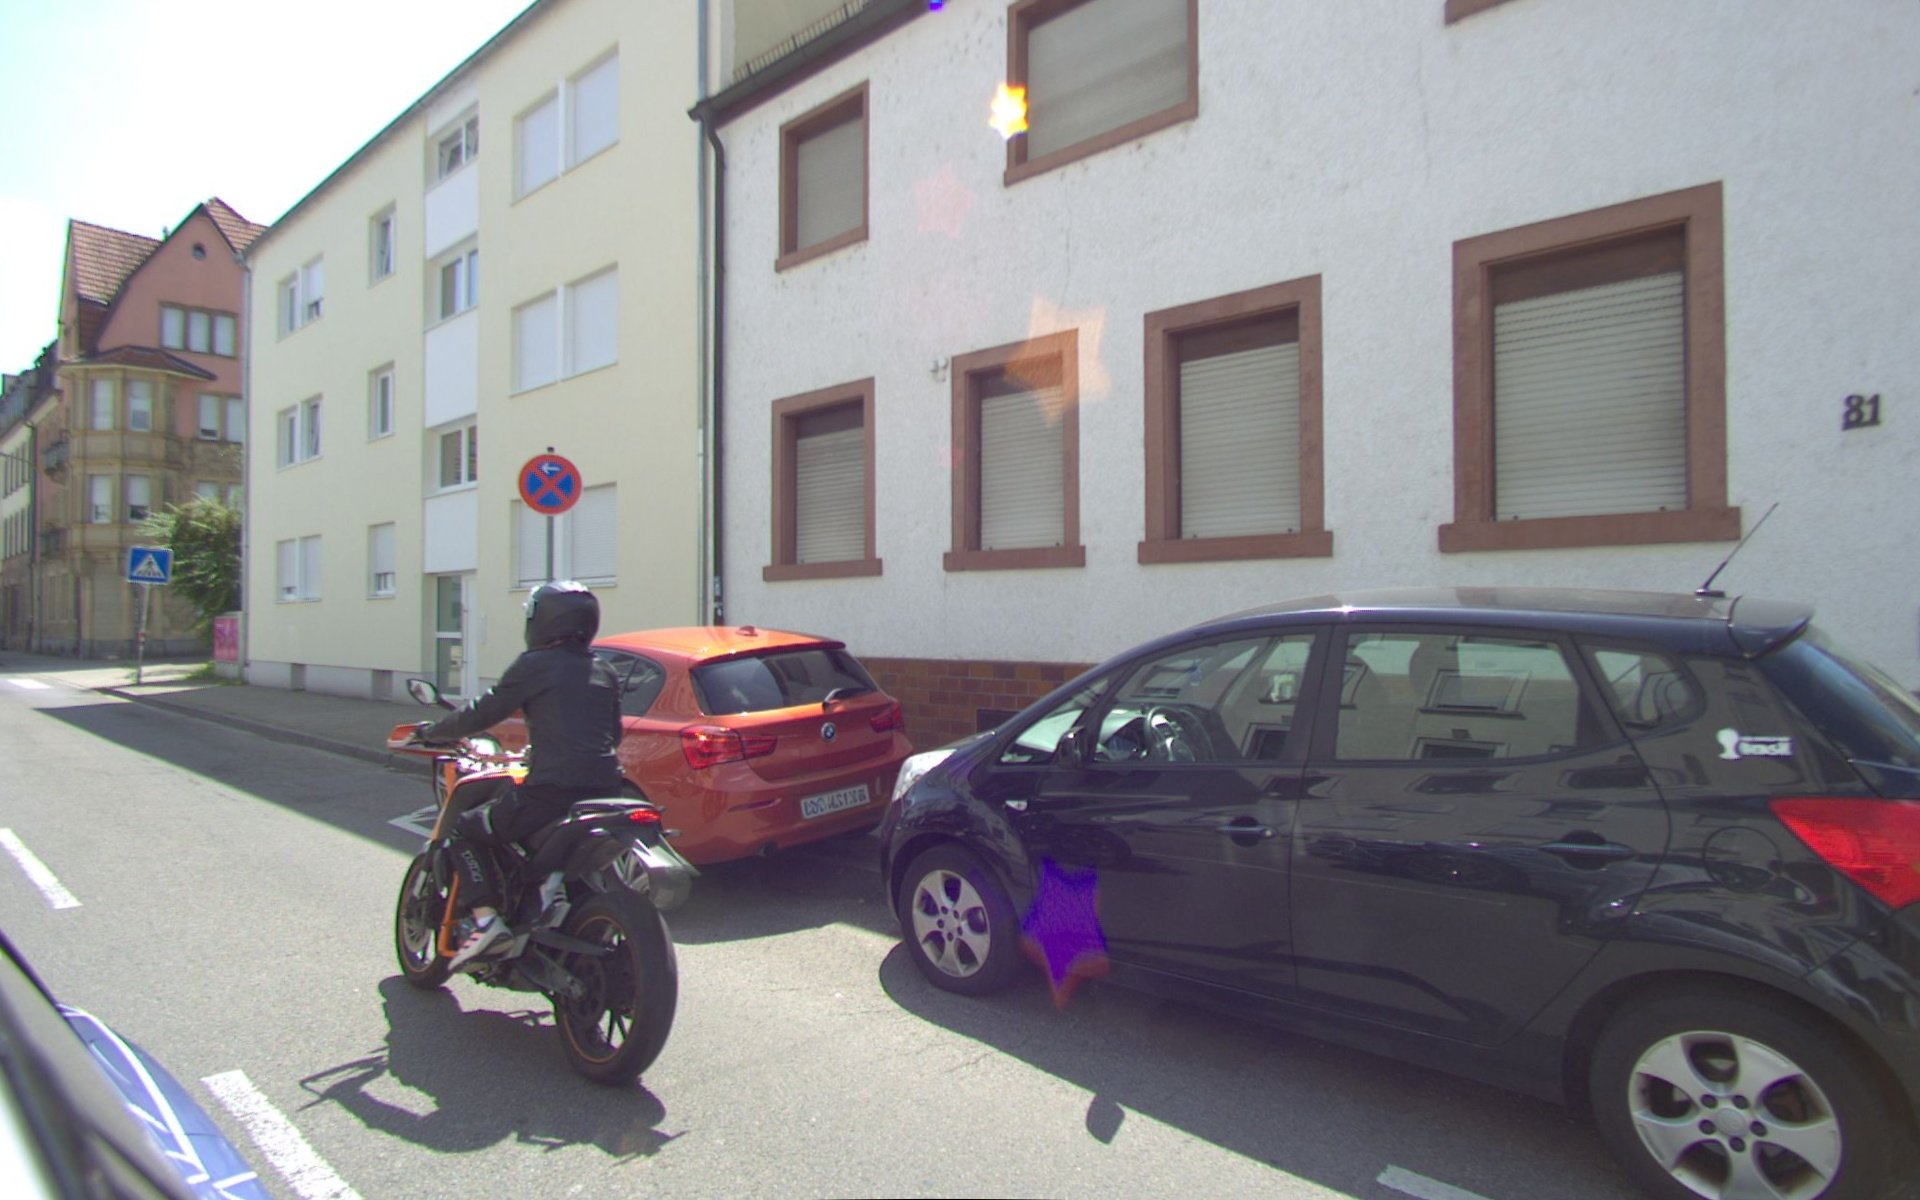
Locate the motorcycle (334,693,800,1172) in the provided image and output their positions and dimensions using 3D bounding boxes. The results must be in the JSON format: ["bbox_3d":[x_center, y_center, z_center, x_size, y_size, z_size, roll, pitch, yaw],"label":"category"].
[{"bbox_3d":[-1.487,0.956,3.593,2.027,1.131,0.680,-1,-2,41],"label":"motorcycle"}]

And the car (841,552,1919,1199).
[{"bbox_3d":[1.539,0.746,3.846,3.943,1.659,1.776,-1,-1,41],"label":"car"}]

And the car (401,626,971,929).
[{"bbox_3d":[-2.109,0.905,6.990,4.289,1.427,1.814,-1,-2,43],"label":"car"}]

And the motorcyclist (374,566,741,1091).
[{"bbox_3d":[-1.438,0.678,3.608,1.056,1.520,0.814,-1,-2,41],"label":"motorcyclist"}]
